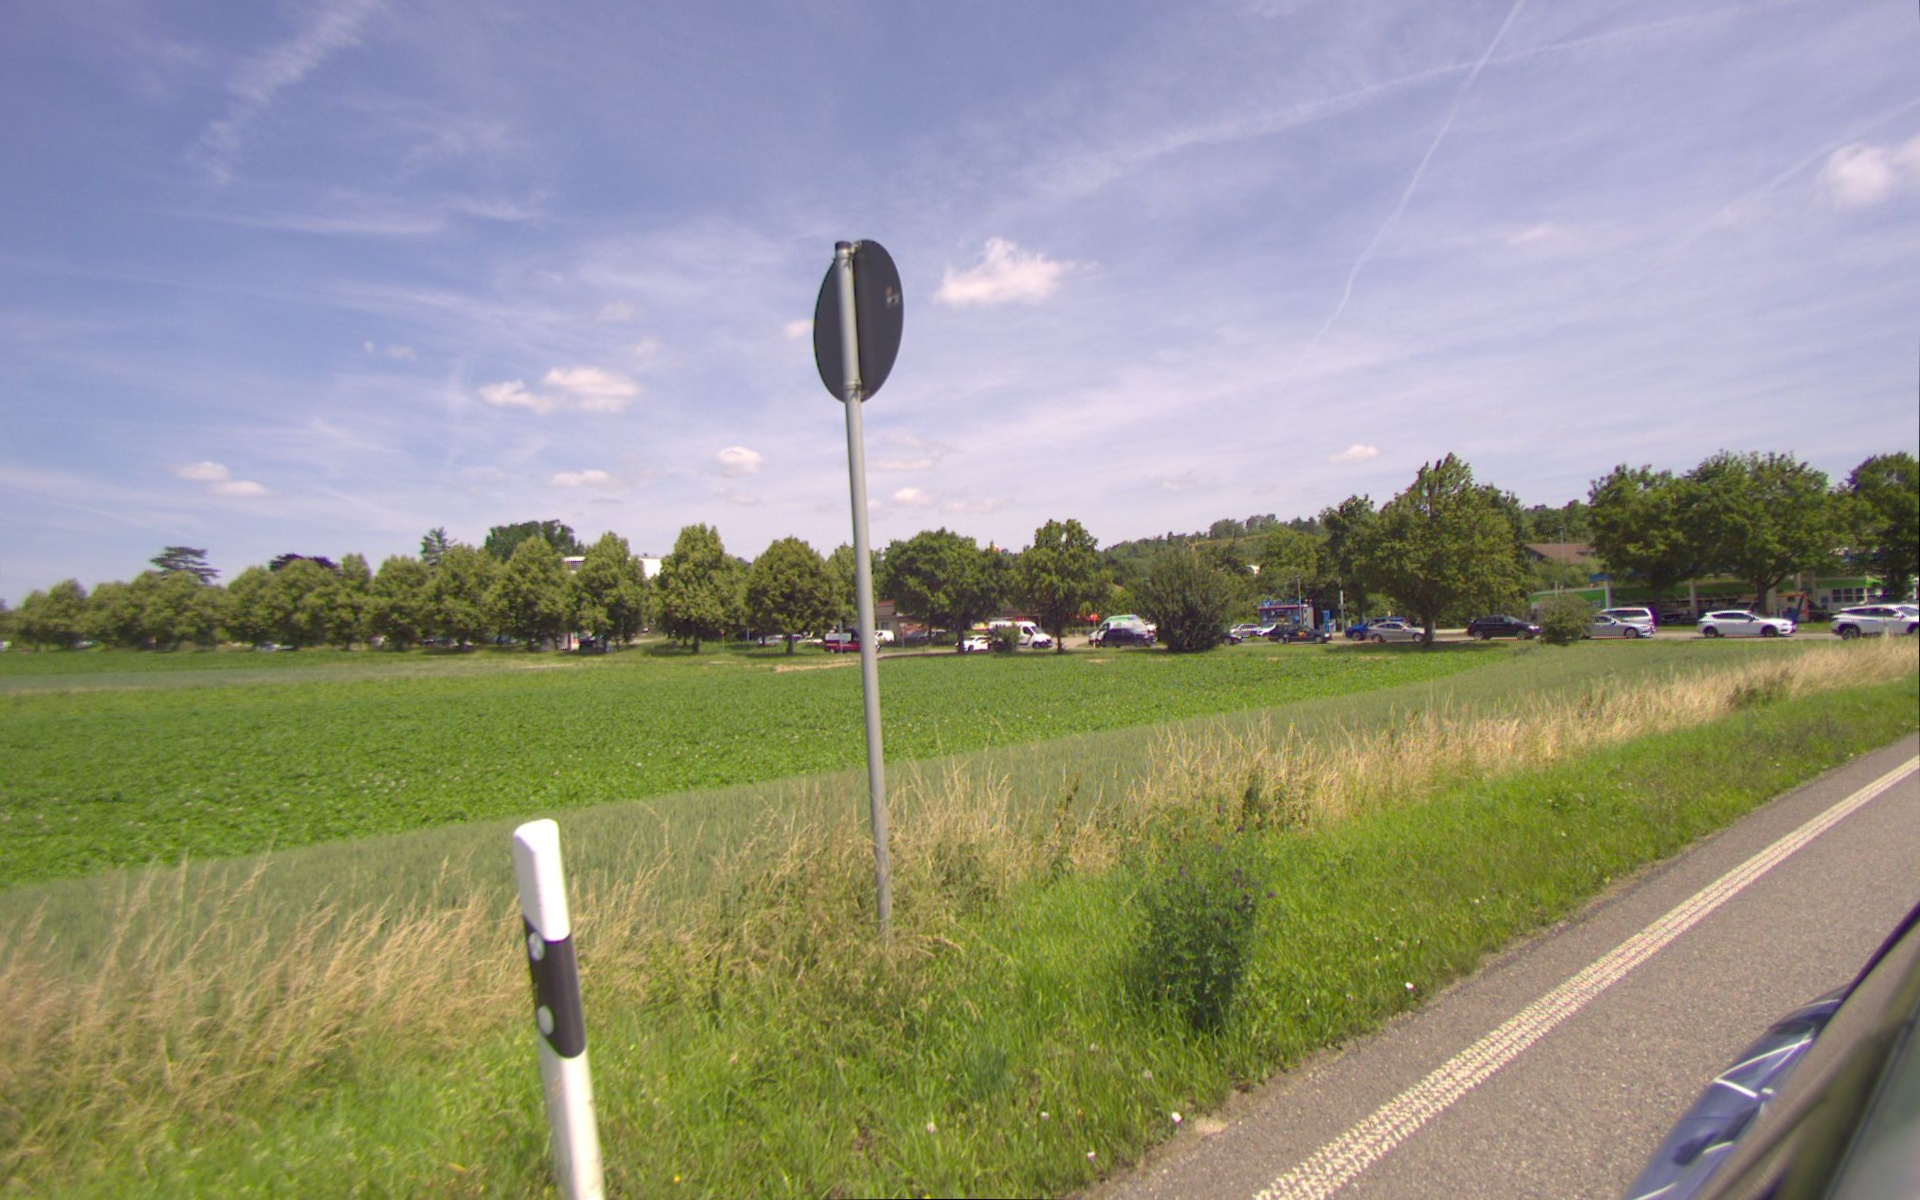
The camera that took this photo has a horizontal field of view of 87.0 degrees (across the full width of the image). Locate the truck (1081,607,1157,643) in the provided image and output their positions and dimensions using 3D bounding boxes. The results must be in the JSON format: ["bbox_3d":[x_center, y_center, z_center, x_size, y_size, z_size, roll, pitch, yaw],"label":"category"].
[{"bbox_3d":[13.250,2.098,84.447,5.897,2.771,2.050,-3,0,33],"label":"truck"}]

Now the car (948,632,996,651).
[{"bbox_3d":[1.191,4.009,98.465,4.417,1.579,1.876,-3,-1,-36],"label":"car"}]

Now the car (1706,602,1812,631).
[{"bbox_3d":[42.838,0.890,54.339,1.767,1.437,4.104,-3,0,-35],"label":"car"}]

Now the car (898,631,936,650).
[{"bbox_3d":[-4.853,4.549,113.662,3.972,1.848,1.801,-3,-1,35],"label":"car"}]

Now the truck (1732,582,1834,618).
[{"bbox_3d":[66.147,-0.001,81.388,6.038,2.652,2.260,-2,-1,4],"label":"truck"}]

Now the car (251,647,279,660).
[{"bbox_3d":[-103.826,7.993,151.157,3.965,1.670,1.979,-3,-1,30],"label":"car"}]

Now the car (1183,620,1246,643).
[{"bbox_3d":[19.218,2.392,76.436,4.195,1.529,1.782,-3,-1,30],"label":"car"}]

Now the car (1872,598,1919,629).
[{"bbox_3d":[46.833,0.616,48.685,1.790,1.437,3.979,-3,-1,-22],"label":"car"}]

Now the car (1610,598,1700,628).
[{"bbox_3d":[43.926,0.813,64.018,4.506,1.713,1.840,-3,0,41],"label":"car"}]

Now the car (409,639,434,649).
[{"bbox_3d":[-93.254,7.648,175.284,4.779,1.611,1.849,-3,-1,35],"label":"car"}]

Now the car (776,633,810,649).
[{"bbox_3d":[-20.615,5.041,124.573,3.972,1.848,1.801,-3,-1,35],"label":"car"}]

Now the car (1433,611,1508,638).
[{"bbox_3d":[36.223,1.739,71.835,4.498,1.713,1.843,-3,0,36],"label":"car"}]

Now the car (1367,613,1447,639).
[{"bbox_3d":[30.182,1.751,68.408,4.539,1.529,1.775,-4,-1,40],"label":"car"}]

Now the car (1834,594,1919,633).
[{"bbox_3d":[43.405,0.607,46.340,1.957,1.628,4.648,-4,-1,-23],"label":"car"}]

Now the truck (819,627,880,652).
[{"bbox_3d":[-10.141,3.589,92.614,5.421,2.001,1.784,-3,-1,28],"label":"truck"}]

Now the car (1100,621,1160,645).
[{"bbox_3d":[13.603,2.612,80.875,4.258,1.719,1.977,-3,-1,33],"label":"car"}]

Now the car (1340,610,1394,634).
[{"bbox_3d":[34.815,1.915,86.565,3.969,1.848,1.802,-3,-1,33],"label":"car"}]

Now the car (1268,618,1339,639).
[{"bbox_3d":[24.706,2.085,72.877,4.526,1.289,1.780,-3,-1,33],"label":"car"}]

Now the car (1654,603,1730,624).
[{"bbox_3d":[55.519,1.024,76.808,4.263,1.380,1.750,-3,-1,18],"label":"car"}]

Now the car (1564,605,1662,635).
[{"bbox_3d":[38.804,1.190,60.228,1.770,1.529,4.551,-2,-1,-42],"label":"car"}]

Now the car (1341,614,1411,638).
[{"bbox_3d":[30.103,1.886,73.254,4.360,1.579,1.761,-2,-2,36],"label":"car"}]

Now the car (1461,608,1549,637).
[{"bbox_3d":[34.976,1.444,65.024,4.547,1.529,1.773,-5,0,45],"label":"car"}]

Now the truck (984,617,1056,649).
[{"bbox_3d":[5.012,2.778,84.781,5.581,2.396,2.035,-3,-1,27],"label":"truck"}]
